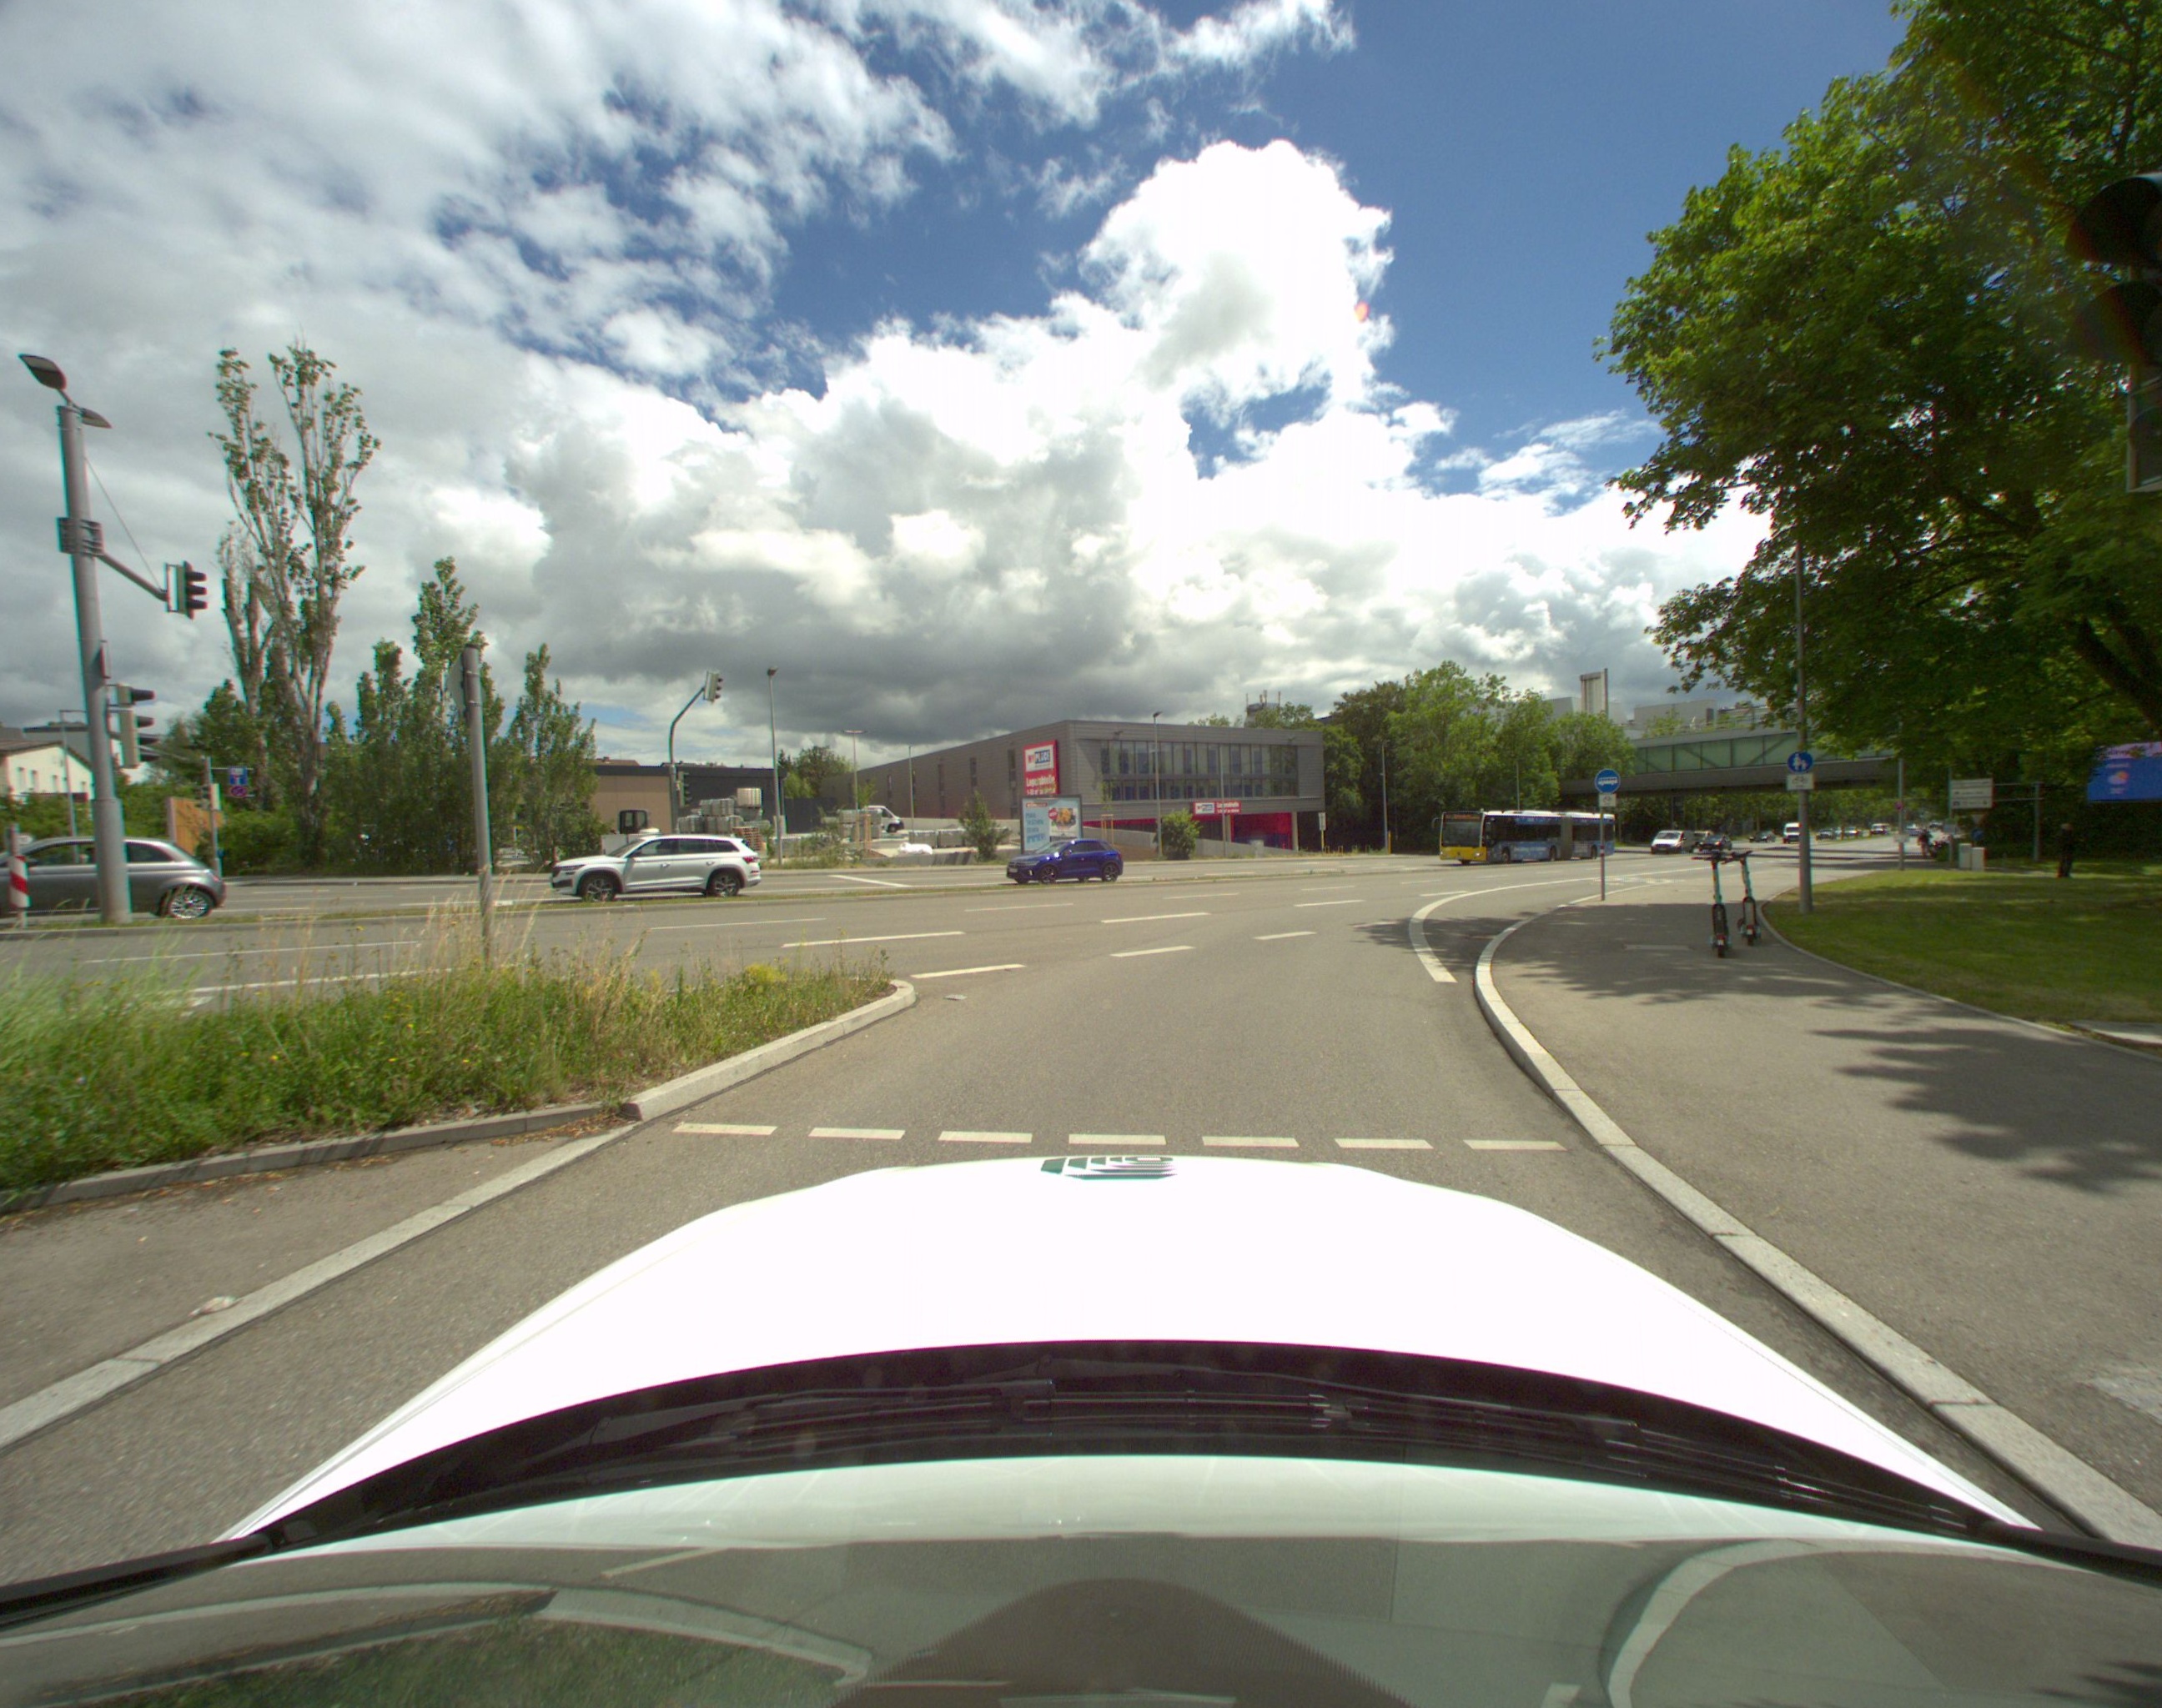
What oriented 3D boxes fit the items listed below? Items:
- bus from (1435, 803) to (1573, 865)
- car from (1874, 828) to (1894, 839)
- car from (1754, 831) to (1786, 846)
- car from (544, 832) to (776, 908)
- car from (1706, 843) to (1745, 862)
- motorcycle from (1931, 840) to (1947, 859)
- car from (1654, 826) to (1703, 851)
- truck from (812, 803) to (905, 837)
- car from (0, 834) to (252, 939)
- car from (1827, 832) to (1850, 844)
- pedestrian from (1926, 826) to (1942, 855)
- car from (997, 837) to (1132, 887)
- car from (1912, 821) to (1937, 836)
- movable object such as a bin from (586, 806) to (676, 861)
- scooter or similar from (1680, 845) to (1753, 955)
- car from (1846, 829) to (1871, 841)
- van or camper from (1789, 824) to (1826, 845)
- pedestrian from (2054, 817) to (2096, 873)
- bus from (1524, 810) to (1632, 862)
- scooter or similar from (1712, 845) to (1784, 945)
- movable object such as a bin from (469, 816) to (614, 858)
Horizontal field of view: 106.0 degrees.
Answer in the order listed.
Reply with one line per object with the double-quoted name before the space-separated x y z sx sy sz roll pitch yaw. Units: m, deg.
"bus" 24.456 -1.133 46.775 10.165 3.284 2.794 -1 2 -37
"car" 124.260 -3.246 126.059 3.943 1.698 1.687 -1 2 -37
"car" 85.758 -1.910 101.304 4.015 1.750 1.979 -1 1 -33
"car" -10.468 0.301 20.480 4.925 1.658 1.714 -2 2 -38
"car" 56.608 -0.148 71.533 3.792 1.470 1.625 -2 2 -35
"motorcycle" 50.805 -0.289 48.204 2.028 1.110 0.542 -1 1 -41
"car" 47.511 -1.256 64.713 4.772 1.924 1.862 -2 2 -37
"truck" -17.199 -2.688 63.075 6.587 2.144 1.986 -5 4 -22
"car" -16.849 0.505 13.845 1.565 1.460 3.548 0 4 34
"car" 99.138 -2.161 106.590 3.088 1.521 1.687 -1 2 -37
"pedestrian" 55.149 -0.884 52.659 0.876 1.858 0.617 0 0 -39
"car" -0.517 0.215 28.158 4.417 1.511 1.791 -2 2 -35
"car" 116.328 -3.515 112.273 4.019 1.771 1.915 -7 5 -36
"movable object such as a bin" -21.580 -0.987 39.203 3.414 2.538 2.139 -1 1 -19
"scooter or similar" 7.838 0.538 10.083 0.527 1.264 1.197 -2 0 30
"car" 111.455 -2.774 116.783 4.018 1.662 1.978 -1 1 -37
"van or camper" 85.963 -2.340 96.293 6.427 2.401 1.992 -1 1 -37
"pedestrian" 32.255 -0.301 26.445 0.583 1.717 0.779 -2 4 25
"bus" 32.140 -1.232 52.490 8.947 3.163 2.794 -2 2 -37
"scooter or similar" 9.019 0.530 11.046 0.527 1.264 1.197 -2 0 30
"movable object such as a bin" -32.867 -1.086 49.960 6.956 2.013 2.278 -5 4 -24
